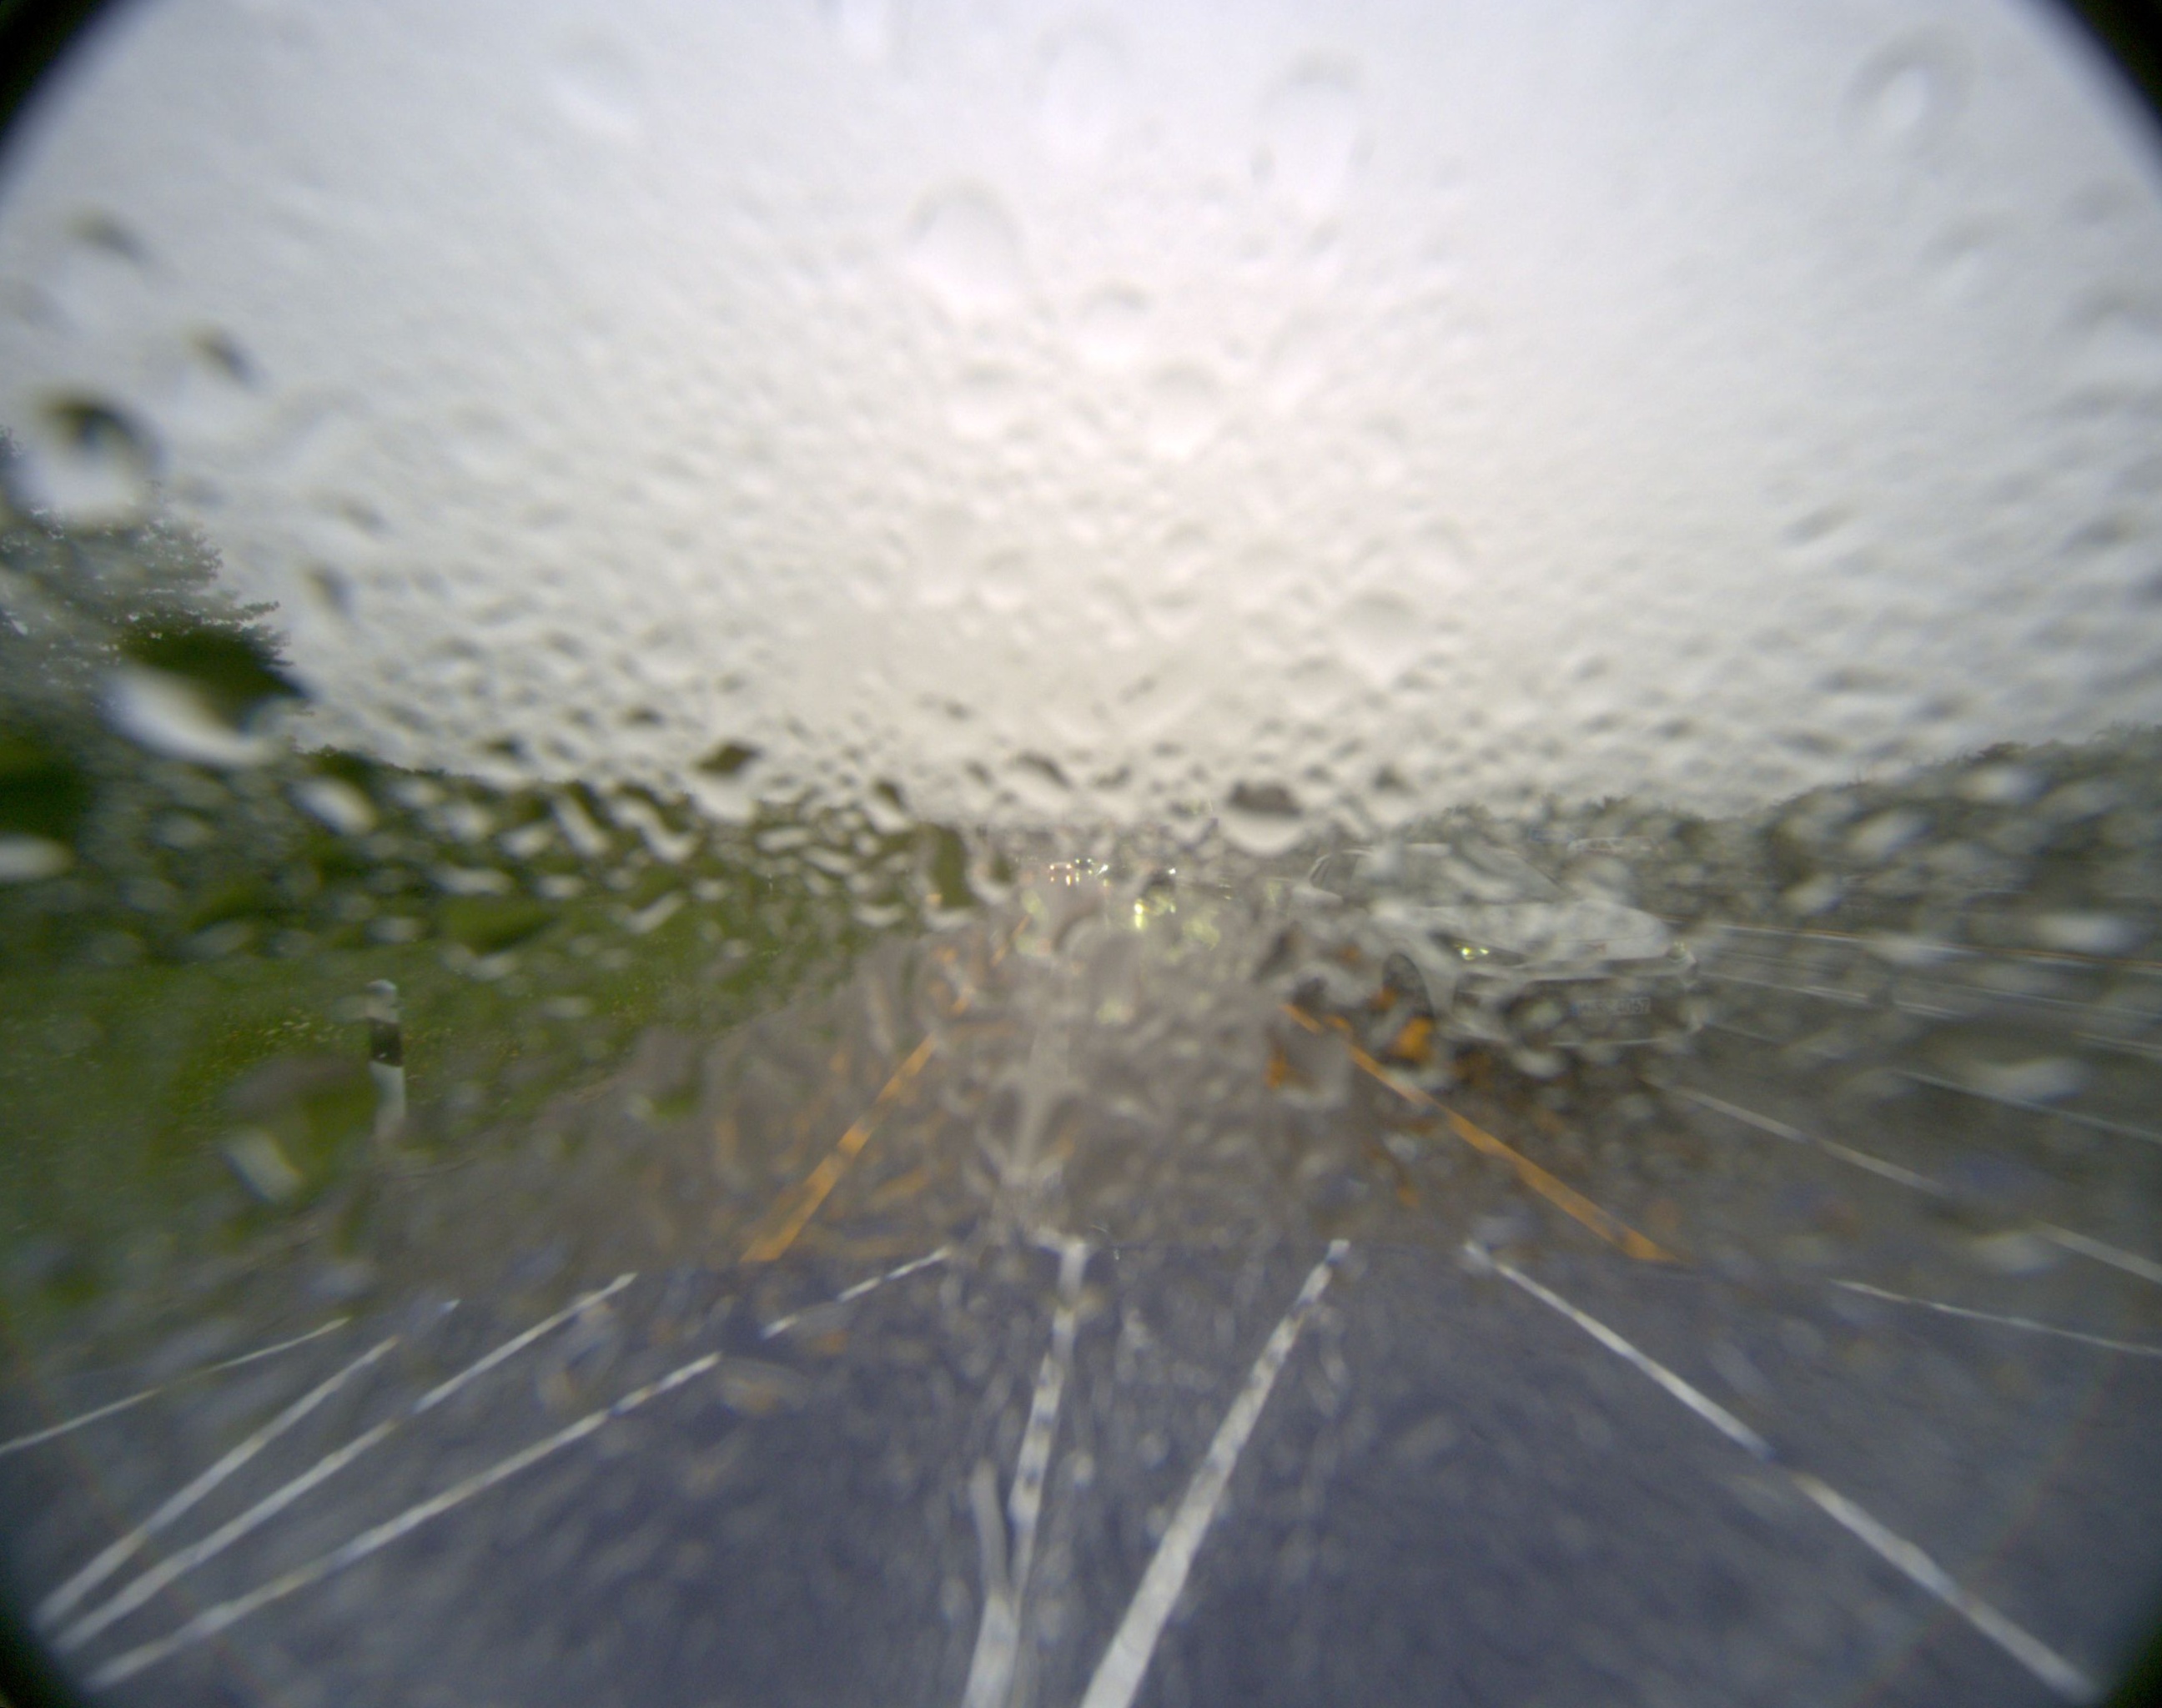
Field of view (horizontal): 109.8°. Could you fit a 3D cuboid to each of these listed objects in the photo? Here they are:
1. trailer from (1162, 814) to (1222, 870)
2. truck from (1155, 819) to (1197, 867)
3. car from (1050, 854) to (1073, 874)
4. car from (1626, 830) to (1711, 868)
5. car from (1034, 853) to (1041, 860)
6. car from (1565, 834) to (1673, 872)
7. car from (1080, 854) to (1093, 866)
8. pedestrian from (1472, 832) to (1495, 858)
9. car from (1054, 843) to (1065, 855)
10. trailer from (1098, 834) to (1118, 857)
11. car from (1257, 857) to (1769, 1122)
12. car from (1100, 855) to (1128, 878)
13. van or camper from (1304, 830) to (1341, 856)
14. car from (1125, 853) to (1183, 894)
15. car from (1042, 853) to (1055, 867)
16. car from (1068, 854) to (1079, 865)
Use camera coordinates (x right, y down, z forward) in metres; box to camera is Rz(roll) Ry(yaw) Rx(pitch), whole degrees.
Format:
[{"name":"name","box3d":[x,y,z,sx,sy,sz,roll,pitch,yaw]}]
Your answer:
[{"name":"trailer","box3d":[8.836,-0.908,62.097,2.607,4.054,12.429,-2,0,-2]},{"name":"truck","box3d":[8.599,-0.975,69.235,2.631,4.058,6.668,-2,0,-2]},{"name":"car","box3d":[-1.824,0.867,69.632,1.882,1.772,3.998,-1,0,-4]},{"name":"car","box3d":[34.732,-0.288,45.143,2.365,2.064,5.586,-2,0,20]},{"name":"car","box3d":[-11.845,0.740,206.061,1.673,1.804,3.999,-1,0,-2]},{"name":"car","box3d":[29.978,-0.074,42.579,2.099,1.955,5.364,-2,0,-1]},{"name":"car","box3d":[0.670,0.761,99.279,1.589,1.528,3.831,-1,0,0]},{"name":"pedestrian","box3d":[31.504,-0.680,59.530,1.108,2.002,1.126,-3,1,-4]},{"name":"car","box3d":[-7.159,-1.498,249.166,3.306,3.718,9.397,-3,1,-3]},{"name":"trailer","box3d":[4.978,-1.514,140.263,2.620,3.984,11.924,-3,0,-2]},{"name":"car","box3d":[3.234,0.838,7.152,1.932,1.542,5.006,-1,0,0]},{"name":"car","box3d":[2.371,0.857,54.989,1.792,1.480,4.000,-3,0,0]},{"name":"van or camper","box3d":[42.764,-1.993,134.889,3.376,4.299,8.503,-3,1,-3]},{"name":"car","box3d":[3.158,0.800,33.730,2.069,1.618,5.195,-2,0,0]},{"name":"car","box3d":[-4.401,0.754,102.754,1.674,1.804,3.998,-1,0,-4]},{"name":"car","box3d":[-1.260,0.935,126.806,1.673,1.804,3.999,-1,0,-2]}]
